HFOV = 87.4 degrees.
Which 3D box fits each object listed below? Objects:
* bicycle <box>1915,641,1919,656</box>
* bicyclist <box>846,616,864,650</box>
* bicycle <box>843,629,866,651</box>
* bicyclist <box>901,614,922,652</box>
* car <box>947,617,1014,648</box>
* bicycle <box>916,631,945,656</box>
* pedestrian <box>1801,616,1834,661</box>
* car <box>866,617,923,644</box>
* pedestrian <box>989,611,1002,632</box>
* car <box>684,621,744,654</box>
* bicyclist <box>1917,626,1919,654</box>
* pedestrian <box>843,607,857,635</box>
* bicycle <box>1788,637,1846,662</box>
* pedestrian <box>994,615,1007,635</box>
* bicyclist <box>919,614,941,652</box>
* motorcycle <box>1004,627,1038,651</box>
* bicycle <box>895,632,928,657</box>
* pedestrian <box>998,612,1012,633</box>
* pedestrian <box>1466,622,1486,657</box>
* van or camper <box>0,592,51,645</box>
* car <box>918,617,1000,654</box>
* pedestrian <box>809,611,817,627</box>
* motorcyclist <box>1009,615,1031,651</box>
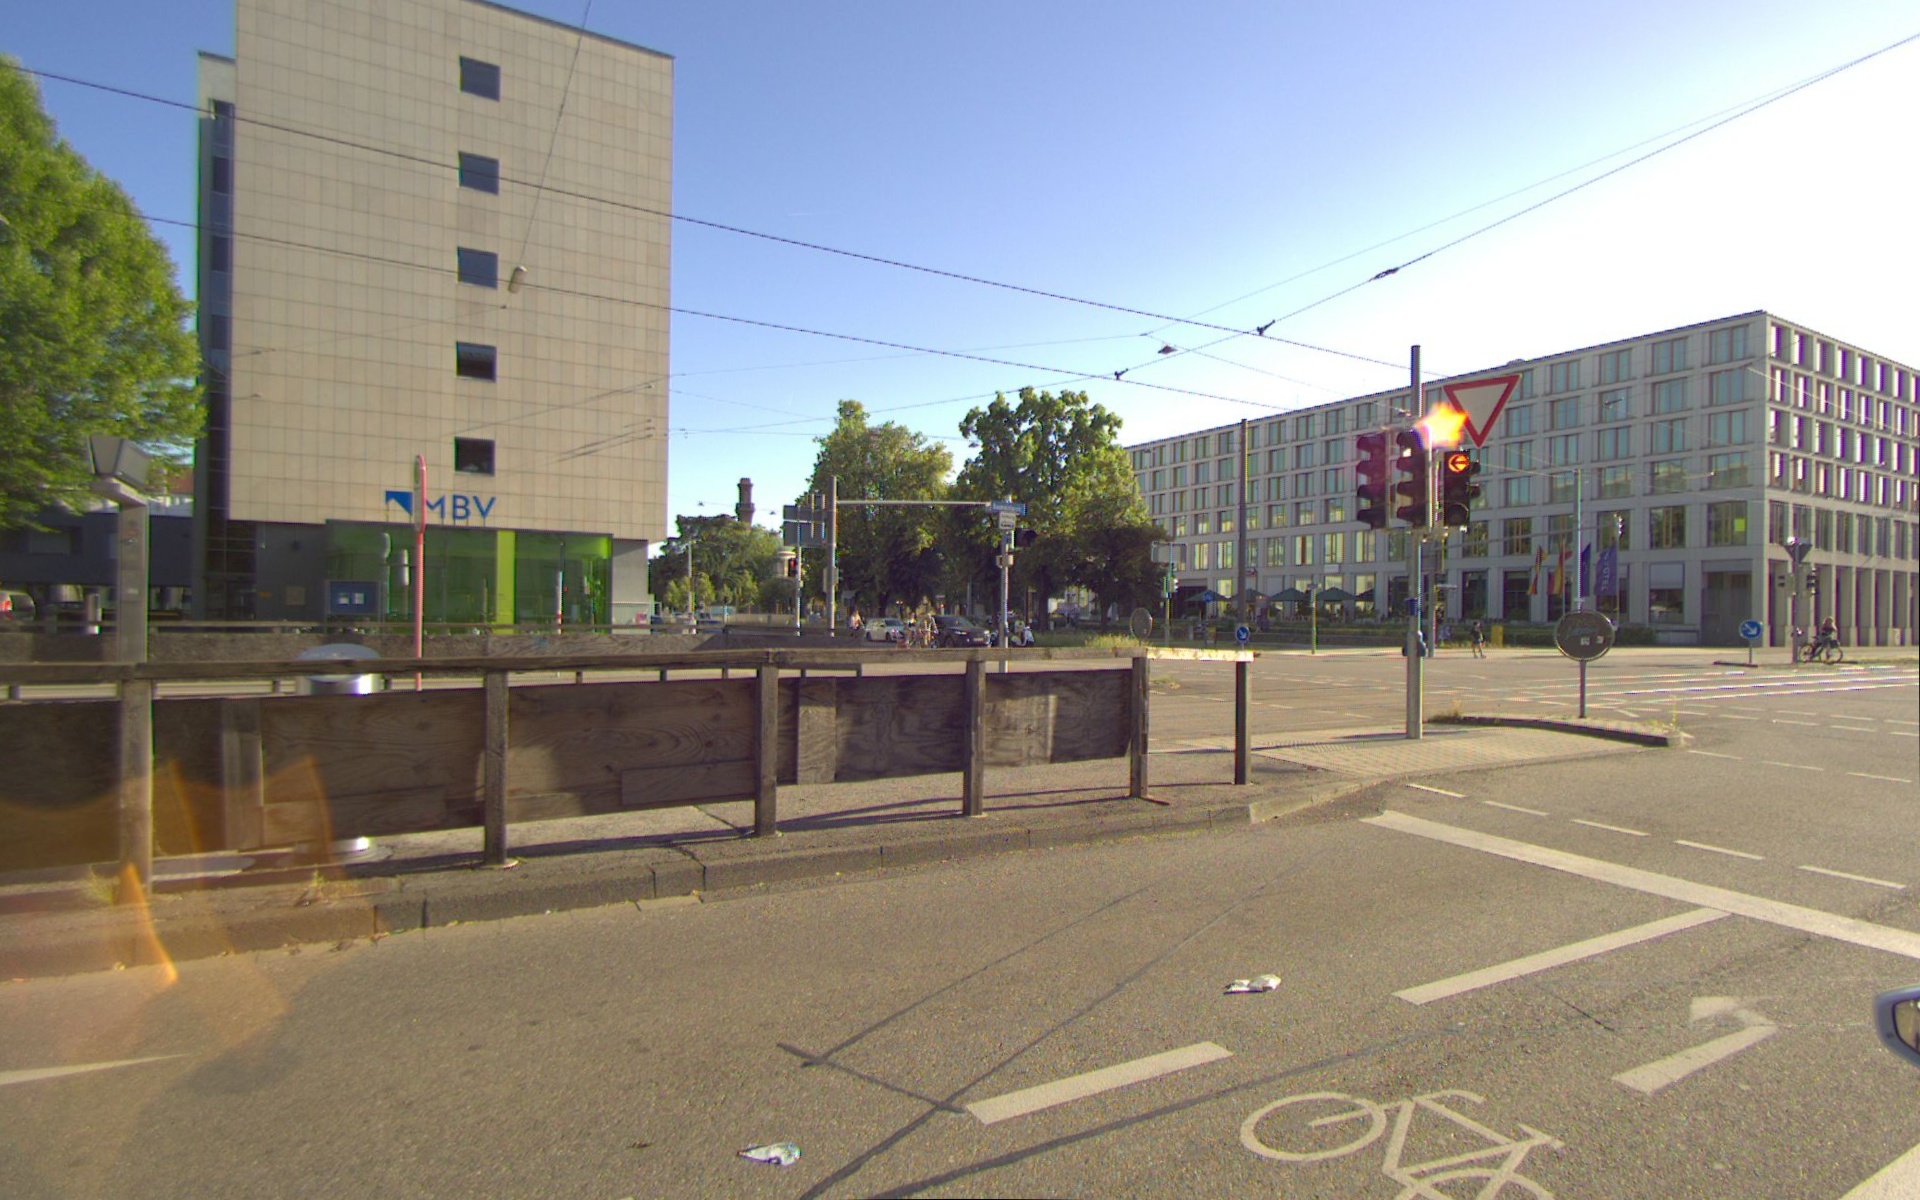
[{"bbox_3d":[52.851,2.660,54.960,1.142,0.850,0.492,1,-1,-28],"label":"bicycle"},{"bbox_3d":[-5.148,1.620,49.194,0.576,1.658,0.890,1,-1,-27],"label":"bicyclist"},{"bbox_3d":[-5.156,1.965,49.181,0.576,1.032,1.666,1,-1,-27],"label":"bicycle"},{"bbox_3d":[-2.033,1.367,42.009,0.577,1.563,0.833,1,-2,-32],"label":"bicyclist"},{"bbox_3d":[1.019,1.658,52.200,1.674,1.506,3.719,1,-1,-33],"label":"car"},{"bbox_3d":[-1.267,1.827,42.374,0.576,1.032,1.666,1,-1,-27],"label":"bicycle"},{"bbox_3d":[31.031,1.390,36.351,0.562,1.616,0.744,1,-1,-3],"label":"pedestrian"},{"bbox_3d":[-3.948,1.795,60.021,1.975,1.537,3.971,1,-1,-28],"label":"car"},{"bbox_3d":[2.992,1.841,85.188,0.858,1.738,0.737,2,0,-26],"label":"pedestrian"},{"bbox_3d":[-12.536,1.893,50.940,1.975,1.472,4.179,2,0,-28],"label":"car"},{"bbox_3d":[52.870,2.203,54.974,0.658,1.518,0.492,1,-1,-28],"label":"bicyclist"},{"bbox_3d":[-8.154,1.558,74.130,0.772,2.040,0.747,1,-1,-31],"label":"pedestrian"},{"bbox_3d":[31.023,1.786,36.386,0.562,0.834,1.718,1,-1,-2],"label":"bicycle"},{"bbox_3d":[3.465,2.141,86.676,0.858,1.738,0.737,2,0,-26],"label":"pedestrian"},{"bbox_3d":[-1.274,1.382,42.409,0.576,1.563,0.890,1,-1,-27],"label":"bicyclist"},{"bbox_3d":[2.847,1.820,46.948,0.624,1.030,1.972,-3,1,-28],"label":"motorcycle"},{"bbox_3d":[-2.038,1.846,42.012,0.577,1.032,1.806,1,-3,-31],"label":"bicycle"},{"bbox_3d":[3.769,1.858,83.924,0.858,1.738,0.737,2,0,-26],"label":"pedestrian"},{"bbox_3d":[25.024,1.903,48.688,0.597,1.703,0.602,1,-1,-22],"label":"pedestrian"},{"bbox_3d":[-27.889,0.428,27.559,3.954,1.425,1.954,4,-3,-30],"label":"van or camper"},{"bbox_3d":[-0.095,1.552,44.441,1.925,1.561,3.969,2,-2,-29],"label":"car"},{"bbox_3d":[-17.656,2.299,120.636,0.759,1.829,0.622,2,0,-15],"label":"pedestrian"},{"bbox_3d":[2.807,1.539,46.979,0.624,1.601,0.812,-3,1,-28],"label":"motorcyclist"}]
